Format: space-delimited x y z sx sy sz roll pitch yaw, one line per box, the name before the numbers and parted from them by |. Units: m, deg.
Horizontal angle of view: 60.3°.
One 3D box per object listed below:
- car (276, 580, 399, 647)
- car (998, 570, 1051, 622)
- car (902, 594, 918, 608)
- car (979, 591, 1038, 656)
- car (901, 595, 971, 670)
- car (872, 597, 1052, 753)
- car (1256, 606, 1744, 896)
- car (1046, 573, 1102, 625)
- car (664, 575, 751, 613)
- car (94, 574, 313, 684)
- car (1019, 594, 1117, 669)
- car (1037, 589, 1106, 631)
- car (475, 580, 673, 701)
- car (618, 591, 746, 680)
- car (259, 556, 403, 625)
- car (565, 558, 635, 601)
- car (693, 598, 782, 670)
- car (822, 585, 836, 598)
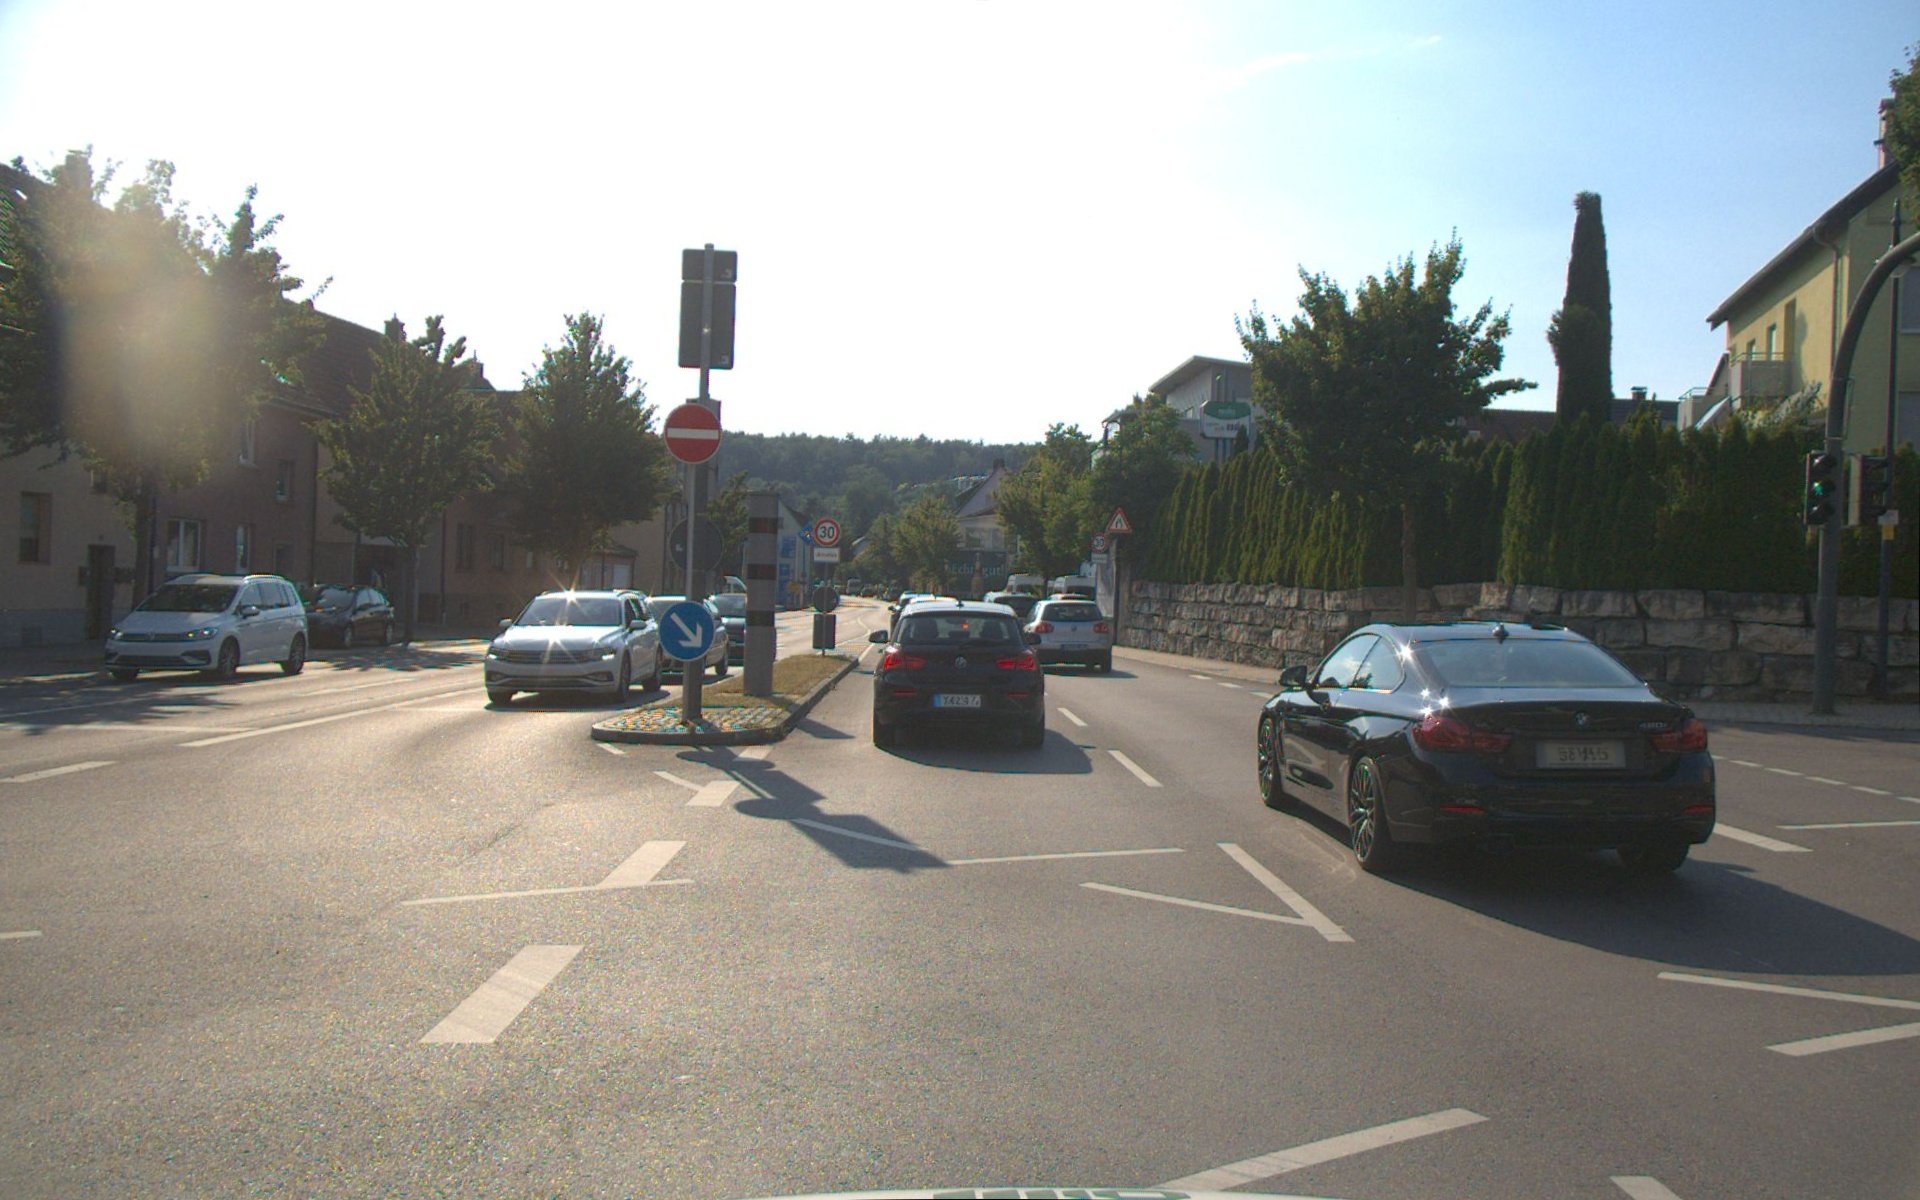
car | -15.104 0.294 40.356 1.586 1.537 4.131 1 1 -3
car | 3.500 -0.230 90.581 2.107 2.727 6.597 1 1 -4
car | -5.627 0.077 186.577 1.565 1.511 3.472 2 0 -4
car | 1.383 0.653 48.164 1.570 1.798 3.410 1 0 -1
car | -0.596 0.714 38.988 1.559 1.628 3.892 1 1 -2
car | -0.031 0.716 17.626 1.736 1.482 3.514 0 0 -2
car | 3.113 0.774 10.492 1.665 1.393 4.262 0 1 -1
car | 6.218 -0.092 91.047 2.070 2.769 6.437 1 1 -5
car | -18.328 -0.448 120.278 6.036 2.487 2.248 2 0 -3
car | -12.335 0.433 27.287 1.651 1.640 4.412 1 0 -1
car | 2.239 0.629 34.986 1.718 1.438 3.421 1 1 -2
car | 4.571 0.401 68.644 1.801 1.678 4.527 1 0 -10
car | -5.314 0.494 23.356 1.798 1.514 4.565 1 1 -1
car | -4.824 0.586 29.090 1.556 1.452 3.578 1 0 1
car | -19.692 -0.286 51.875 3.743 1.914 1.779 3 0 0
car | -14.303 -0.792 65.910 1.631 1.513 4.002 4 0 4
car | -4.923 0.718 36.973 1.501 1.487 3.506 1 1 0
car | -15.736 -0.982 198.825 1.565 1.511 3.472 2 0 -4
